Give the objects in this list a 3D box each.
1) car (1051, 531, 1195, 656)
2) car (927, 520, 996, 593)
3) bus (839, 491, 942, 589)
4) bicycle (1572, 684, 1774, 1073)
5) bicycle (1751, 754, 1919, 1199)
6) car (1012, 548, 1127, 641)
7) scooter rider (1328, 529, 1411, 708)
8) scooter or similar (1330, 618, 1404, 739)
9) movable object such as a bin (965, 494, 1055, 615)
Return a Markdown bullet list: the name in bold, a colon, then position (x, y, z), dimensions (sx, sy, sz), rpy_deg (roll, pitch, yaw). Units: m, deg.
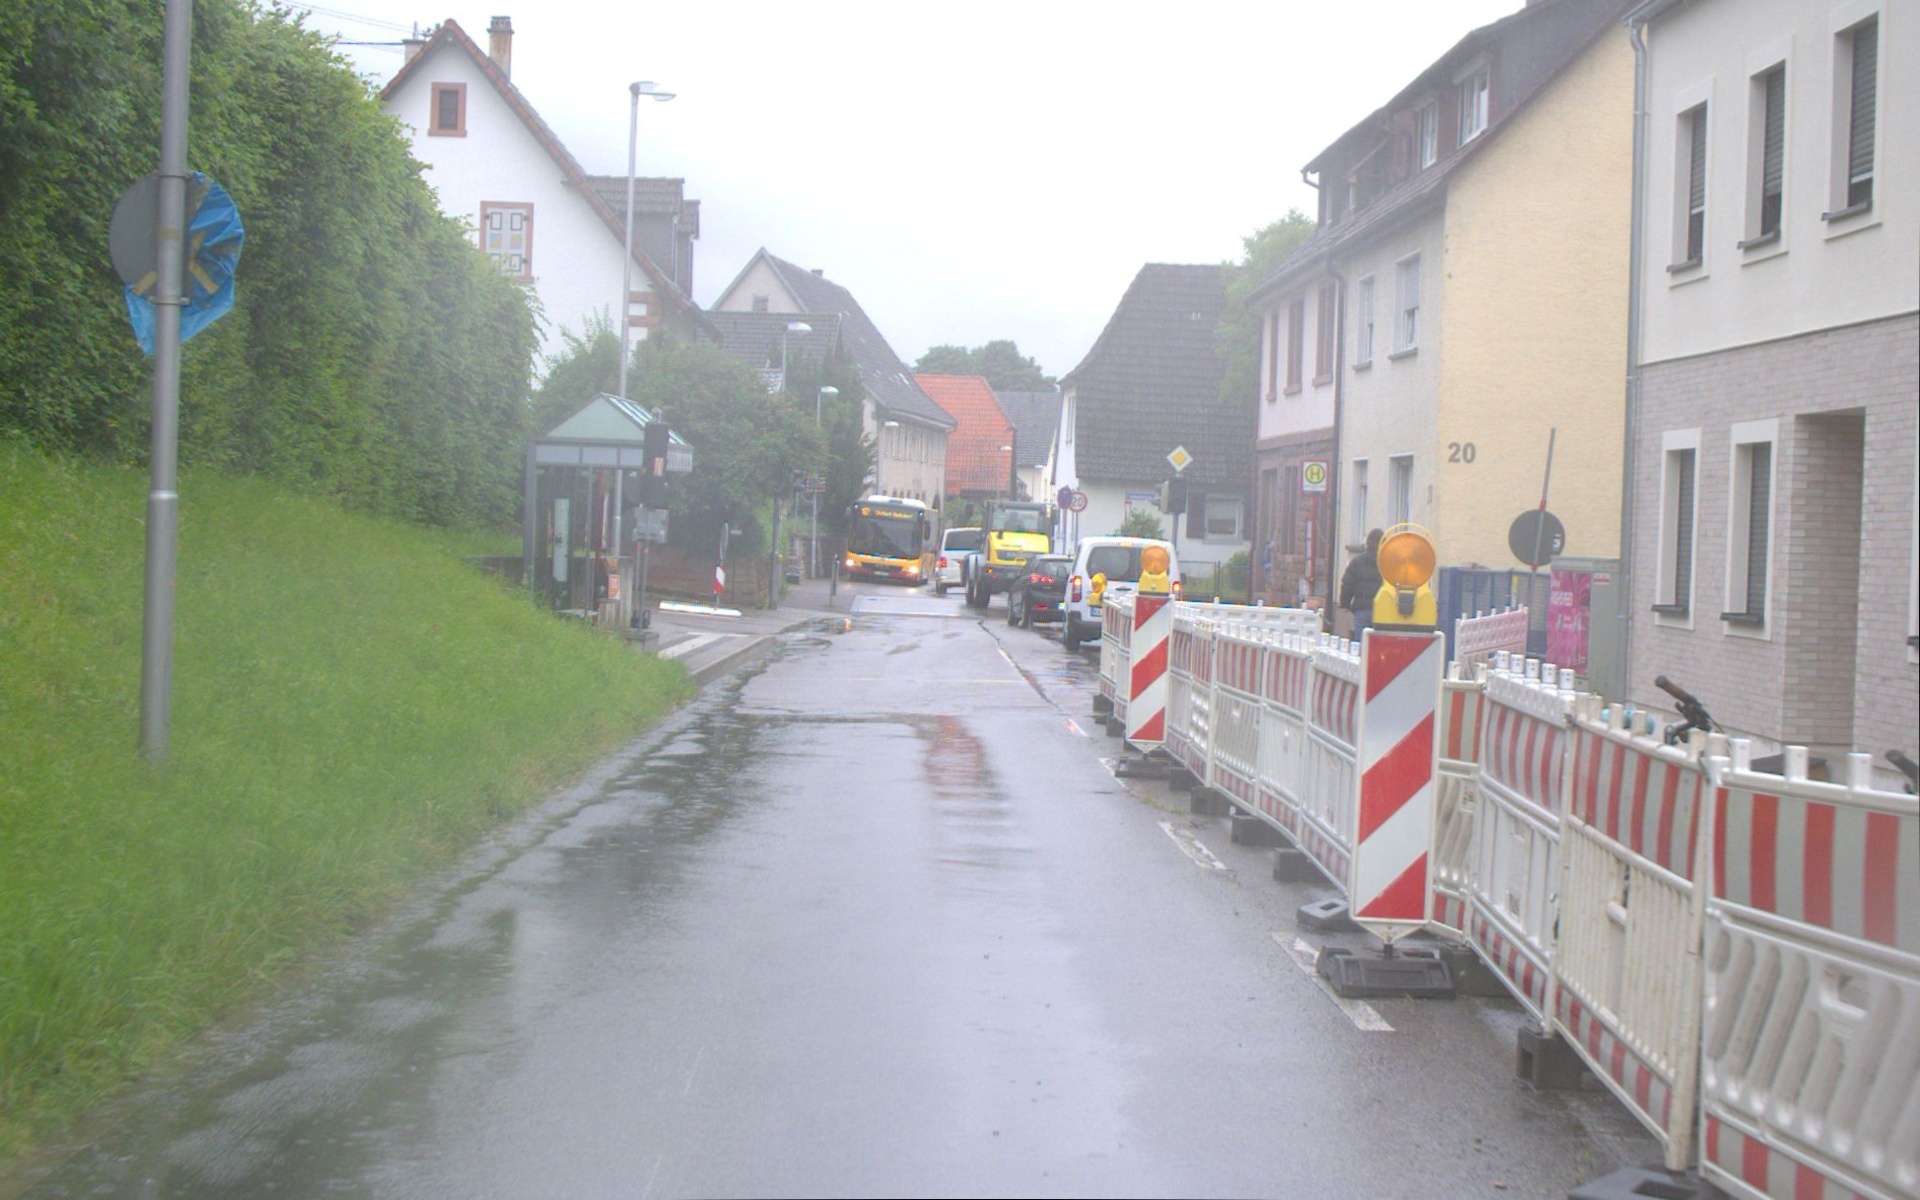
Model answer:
- **car**: position (2.545, -0.139, 54.616), dimensions (1.894, 1.787, 3.814), rpy_deg (4, 1, -2)
- **car**: position (0.062, -1.305, 101.652), dimensions (1.727, 2.000, 3.974), rpy_deg (4, 1, 3)
- **bus**: position (-2.354, -2.208, 121.338), dimensions (2.650, 2.989, 12.193), rpy_deg (3, 3, 3)
- **bicycle**: position (2.284, 0.864, 11.100), dimensions (0.406, 1.139, 1.221), rpy_deg (1, 0, 1)
- **bicycle**: position (2.380, 0.945, 8.866), dimensions (0.406, 1.025, 1.221), rpy_deg (1, 0, 1)
- **car**: position (2.083, -0.129, 66.316), dimensions (1.809, 1.591, 3.756), rpy_deg (4, 1, -3)
- **scooter rider**: position (4.063, 0.177, 34.099), dimensions (0.731, 1.727, 0.518), rpy_deg (3, 0, 8)
- **scooter or similar**: position (4.024, 0.765, 33.944), dimensions (0.620, 1.123, 1.401), rpy_deg (3, 1, 9)
- **movable object such as a bin**: position (1.140, -1.085, 80.068), dimensions (1.727, 2.644, 3.975), rpy_deg (4, 1, -2)
